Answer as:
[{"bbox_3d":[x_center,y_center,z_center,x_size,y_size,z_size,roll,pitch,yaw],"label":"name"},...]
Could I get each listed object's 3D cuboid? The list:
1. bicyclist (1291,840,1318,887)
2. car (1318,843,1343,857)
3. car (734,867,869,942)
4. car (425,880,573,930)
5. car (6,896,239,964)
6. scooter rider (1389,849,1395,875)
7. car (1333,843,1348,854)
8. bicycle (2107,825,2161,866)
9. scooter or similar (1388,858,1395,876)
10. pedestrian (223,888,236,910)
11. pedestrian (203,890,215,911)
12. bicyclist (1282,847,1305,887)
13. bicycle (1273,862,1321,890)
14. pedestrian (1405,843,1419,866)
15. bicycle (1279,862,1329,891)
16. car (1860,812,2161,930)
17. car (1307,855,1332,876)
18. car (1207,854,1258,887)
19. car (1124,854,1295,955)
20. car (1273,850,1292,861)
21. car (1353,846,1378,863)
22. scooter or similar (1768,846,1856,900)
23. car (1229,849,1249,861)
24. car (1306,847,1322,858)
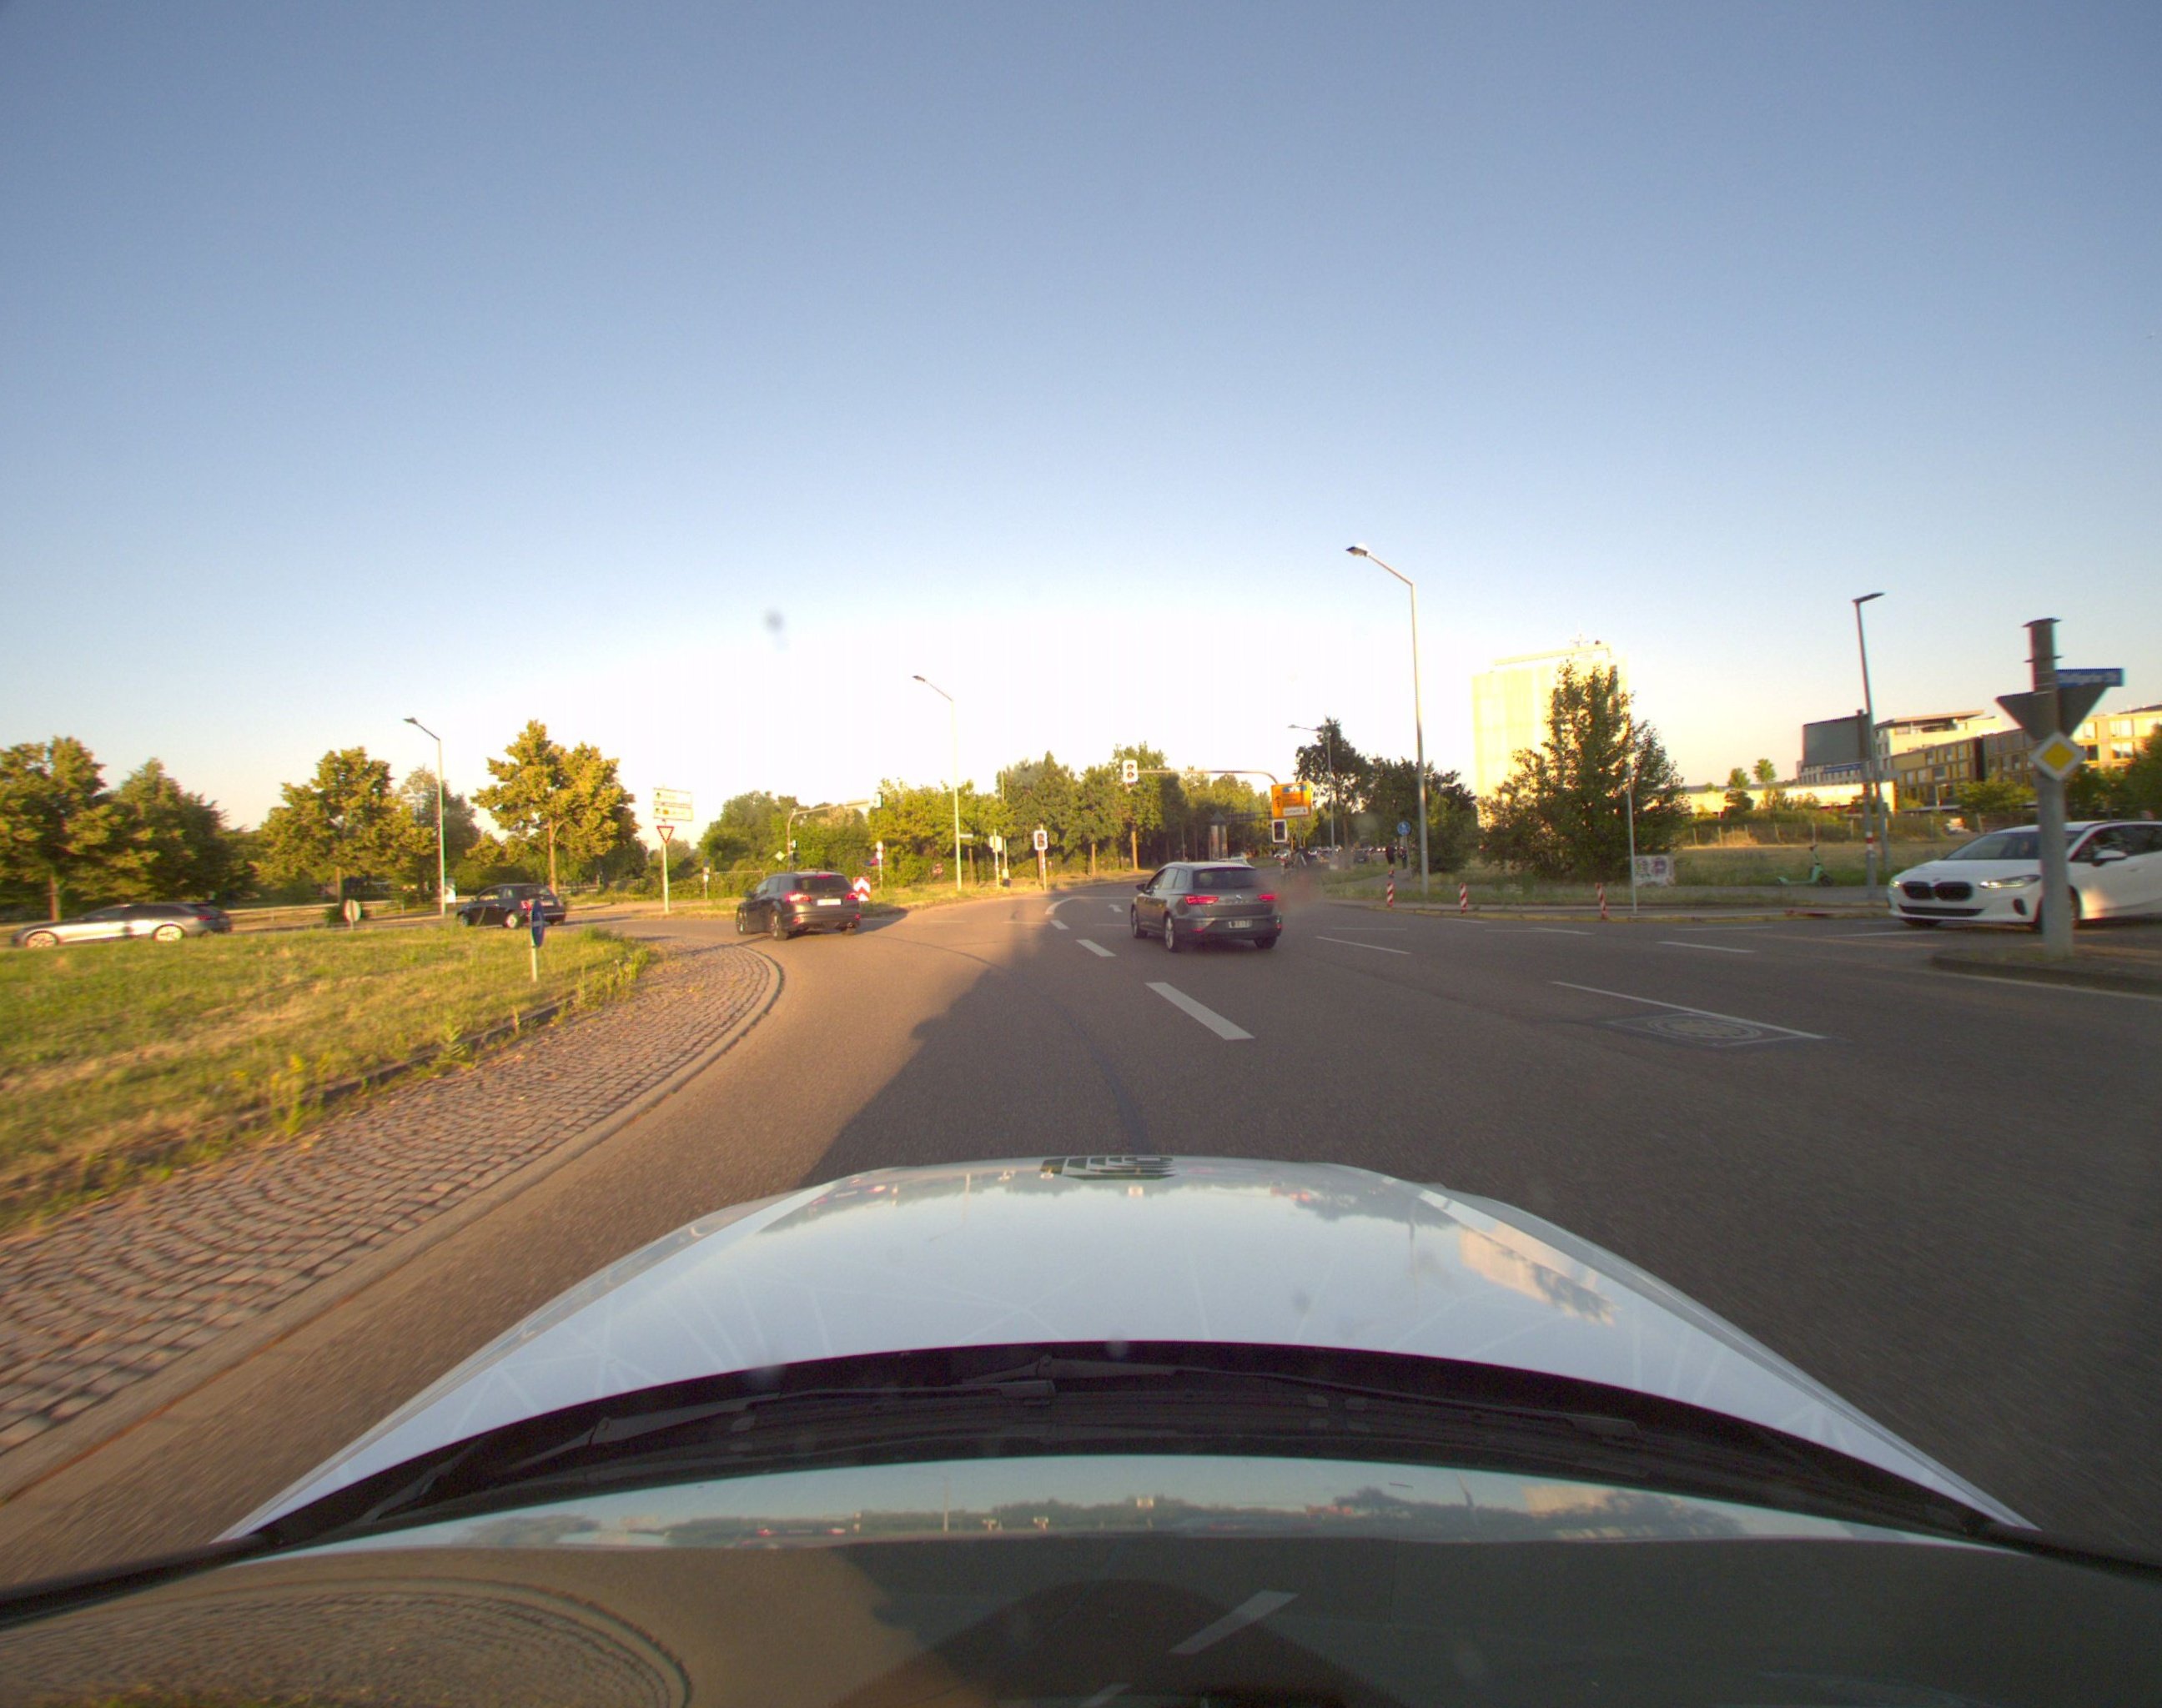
[{"bbox_3d":[9.377,0.394,34.160,0.899,1.897,0.645,-5,-1,25],"label":"bicyclist"},{"bbox_3d":[27.792,-0.489,90.595,1.975,1.470,4.024,-2,0,26],"label":"car"},{"bbox_3d":[-6.550,1.077,18.808,1.759,1.466,4.088,-2,0,-37],"label":"car"},{"bbox_3d":[-19.188,1.667,26.866,4.089,1.446,1.759,-2,0,16],"label":"car"},{"bbox_3d":[-31.402,2.446,26.908,4.609,1.747,1.735,-2,0,-28],"label":"car"},{"bbox_3d":[16.262,0.395,42.593,0.262,1.339,0.408,-2,0,17],"label":"scooter rider"},{"bbox_3d":[48.769,-1.016,152.850,1.899,1.754,4.950,-4,-1,26],"label":"car"},{"bbox_3d":[29.517,-0.238,22.523,1.354,1.089,0.282,-2,0,38],"label":"bicycle"},{"bbox_3d":[16.239,0.676,42.572,0.244,0.914,1.044,-2,0,17],"label":"scooter or similar"},{"bbox_3d":[-65.774,3.497,62.927,0.624,1.626,0.524,-2,-1,-44],"label":"pedestrian"},{"bbox_3d":[-66.555,3.548,62.160,0.526,1.626,0.584,-3,-1,42],"label":"pedestrian"},{"bbox_3d":[9.464,0.560,36.217,0.760,1.702,0.645,-5,-1,25],"label":"bicyclist"},{"bbox_3d":[9.540,0.994,36.036,1.904,1.085,0.459,-5,-1,25],"label":"bicycle"},{"bbox_3d":[23.033,0.011,56.723,0.786,1.550,0.571,-3,-1,28],"label":"pedestrian"},{"bbox_3d":[9.364,0.944,34.156,1.904,1.085,0.459,-4,-1,25],"label":"bicycle"},{"bbox_3d":[14.784,0.224,12.546,4.080,1.558,1.885,-2,-1,-8],"label":"car"},{"bbox_3d":[18.324,0.862,62.506,1.732,1.488,4.153,-2,0,16],"label":"car"},{"bbox_3d":[8.167,0.849,43.731,1.796,1.525,4.158,-2,0,23],"label":"car"},{"bbox_3d":[2.038,0.744,14.153,1.745,1.424,4.122,-2,0,-9],"label":"car"},{"bbox_3d":[29.448,0.204,118.811,1.706,1.449,4.576,-2,0,26],"label":"car"},{"bbox_3d":[29.838,0.072,85.349,1.888,1.618,4.024,-2,0,26],"label":"car"},{"bbox_3d":[16.314,0.414,18.208,0.443,1.163,1.371,-2,0,-27],"label":"scooter or similar"},{"bbox_3d":[21.575,0.105,111.079,1.534,1.443,3.508,-4,-1,30],"label":"car"},{"bbox_3d":[39.592,-0.286,138.286,1.780,1.633,4.483,-4,-1,28],"label":"car"}]
